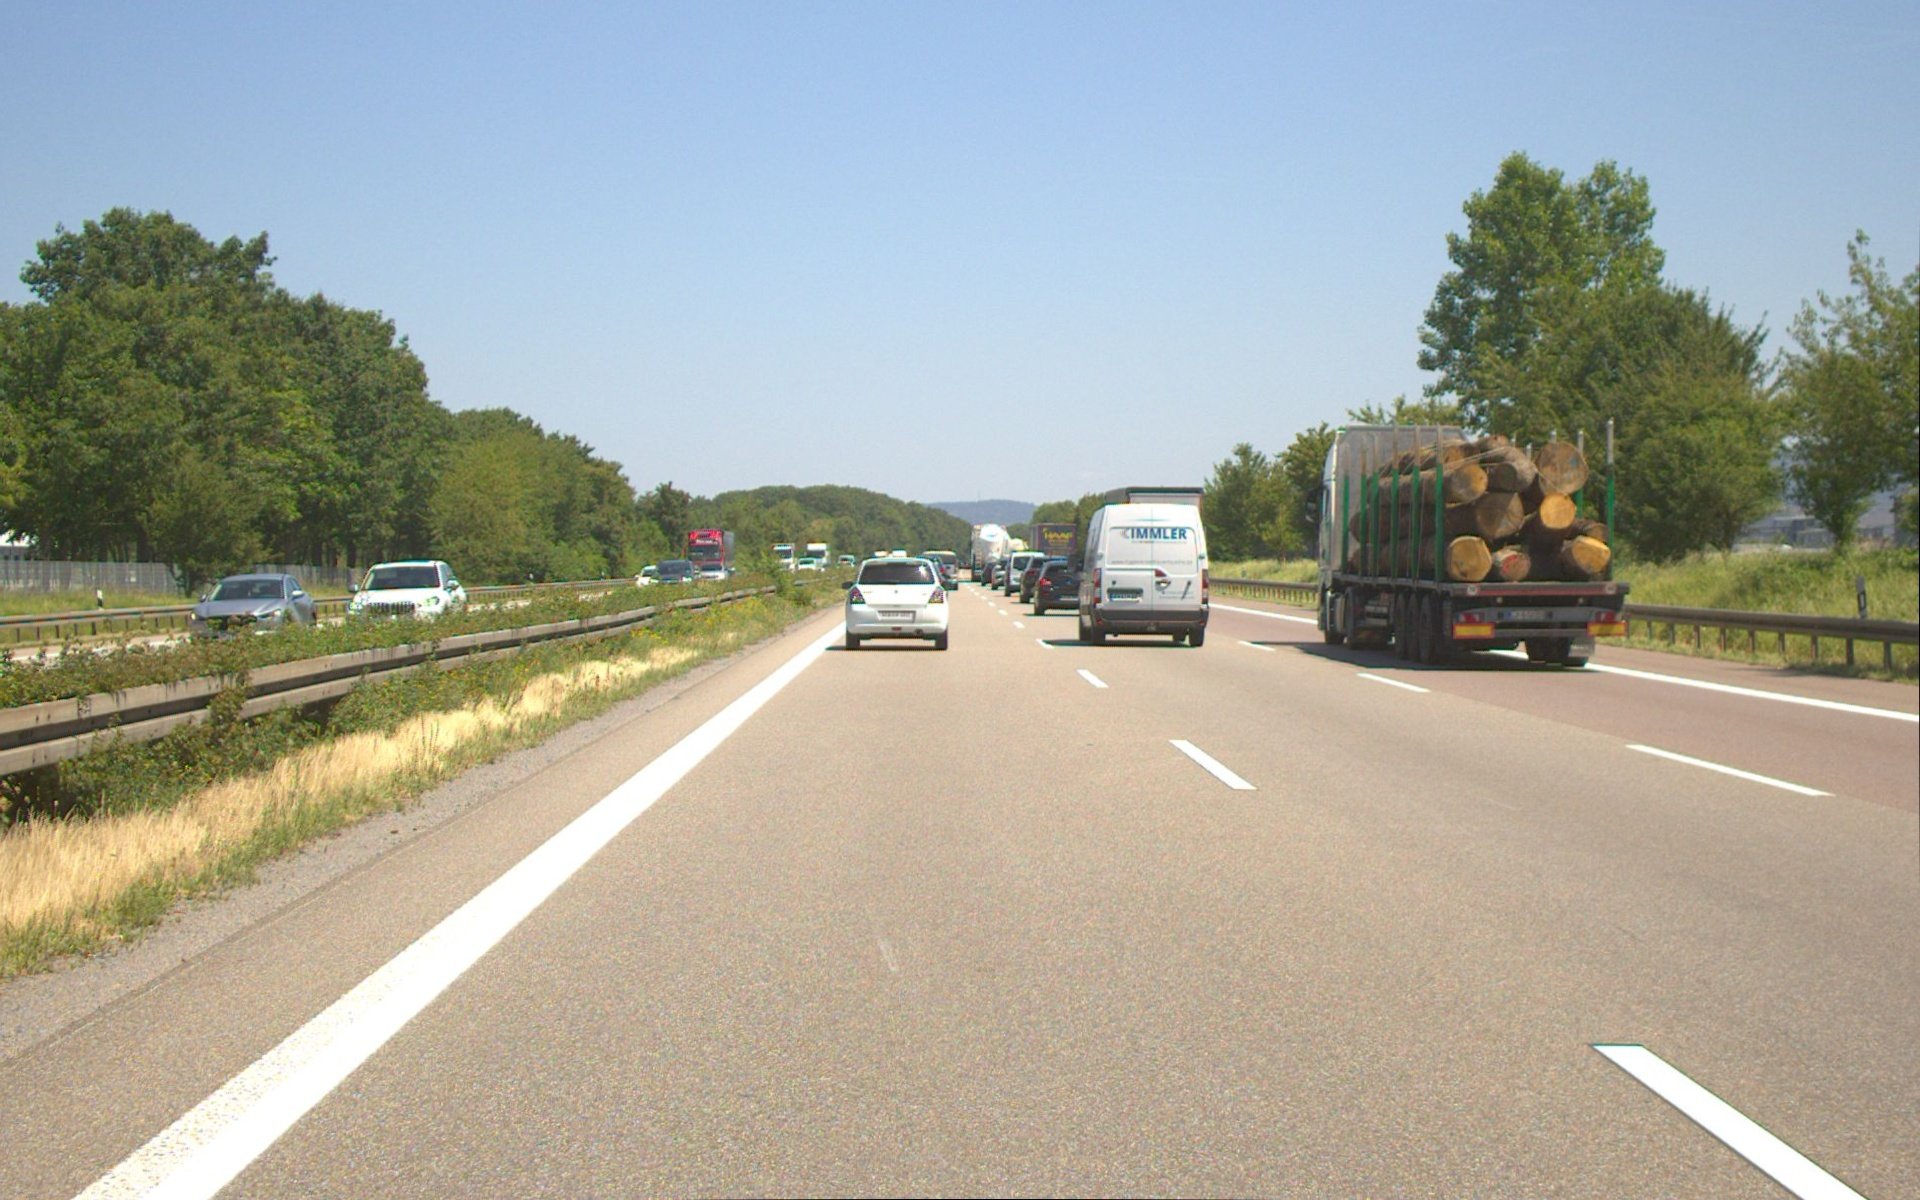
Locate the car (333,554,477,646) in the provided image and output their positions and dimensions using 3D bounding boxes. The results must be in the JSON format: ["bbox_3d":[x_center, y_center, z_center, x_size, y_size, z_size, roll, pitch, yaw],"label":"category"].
[{"bbox_3d":[-10.493,-0.031,65.335,1.993,1.634,4.573,2,1,0],"label":"car"}]

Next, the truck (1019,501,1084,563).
[{"bbox_3d":[6.466,-4.778,244.832,3.257,4.194,16.845,2,1,-3],"label":"truck"}]

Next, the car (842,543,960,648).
[{"bbox_3d":[-1.014,-0.099,57.386,1.857,1.646,4.000,2,1,-2],"label":"car"}]

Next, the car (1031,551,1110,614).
[{"bbox_3d":[2.979,-0.485,93.499,1.857,1.646,4.000,1,1,-2],"label":"car"}]

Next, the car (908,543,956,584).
[{"bbox_3d":[-1.167,-1.510,141.643,1.857,1.646,4.000,1,1,-2],"label":"car"}]

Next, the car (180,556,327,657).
[{"bbox_3d":[-13.371,0.092,65.277,1.872,1.788,4.424,2,1,0],"label":"car"}]

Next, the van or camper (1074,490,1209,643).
[{"bbox_3d":[3.228,-0.616,62.192,2.058,2.613,5.985,0,1,0],"label":"van or camper"}]

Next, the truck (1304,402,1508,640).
[{"bbox_3d":[7.864,-1.377,61.395,2.670,3.981,6.636,1,1,0],"label":"truck"}]

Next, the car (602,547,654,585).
[{"bbox_3d":[-15.713,-1.604,162.914,1.993,1.634,4.859,-4,1,-1],"label":"car"}]

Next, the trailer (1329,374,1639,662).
[{"bbox_3d":[7.956,-1.230,54.214,2.653,3.945,13.637,1,1,0],"label":"trailer"}]

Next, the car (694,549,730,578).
[{"bbox_3d":[-15.183,-2.263,210.732,1.846,1.676,4.815,-2,1,0],"label":"car"}]

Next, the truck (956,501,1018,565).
[{"bbox_3d":[1.780,-4.544,236.104,3.257,4.194,16.845,2,1,-3],"label":"truck"}]

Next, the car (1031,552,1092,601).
[{"bbox_3d":[3.490,-0.826,118.955,1.857,1.646,4.000,1,1,-2],"label":"car"}]

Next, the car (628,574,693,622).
[{"bbox_3d":[-11.382,-0.091,130.784,1.993,1.634,4.859,-4,1,0],"label":"car"}]

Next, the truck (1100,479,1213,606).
[{"bbox_3d":[6.997,-2.046,124.871,3.079,4.194,16.844,2,1,0],"label":"truck"}]

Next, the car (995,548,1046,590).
[{"bbox_3d":[2.446,-1.269,140.315,1.857,1.646,4.000,1,1,-2],"label":"car"}]
